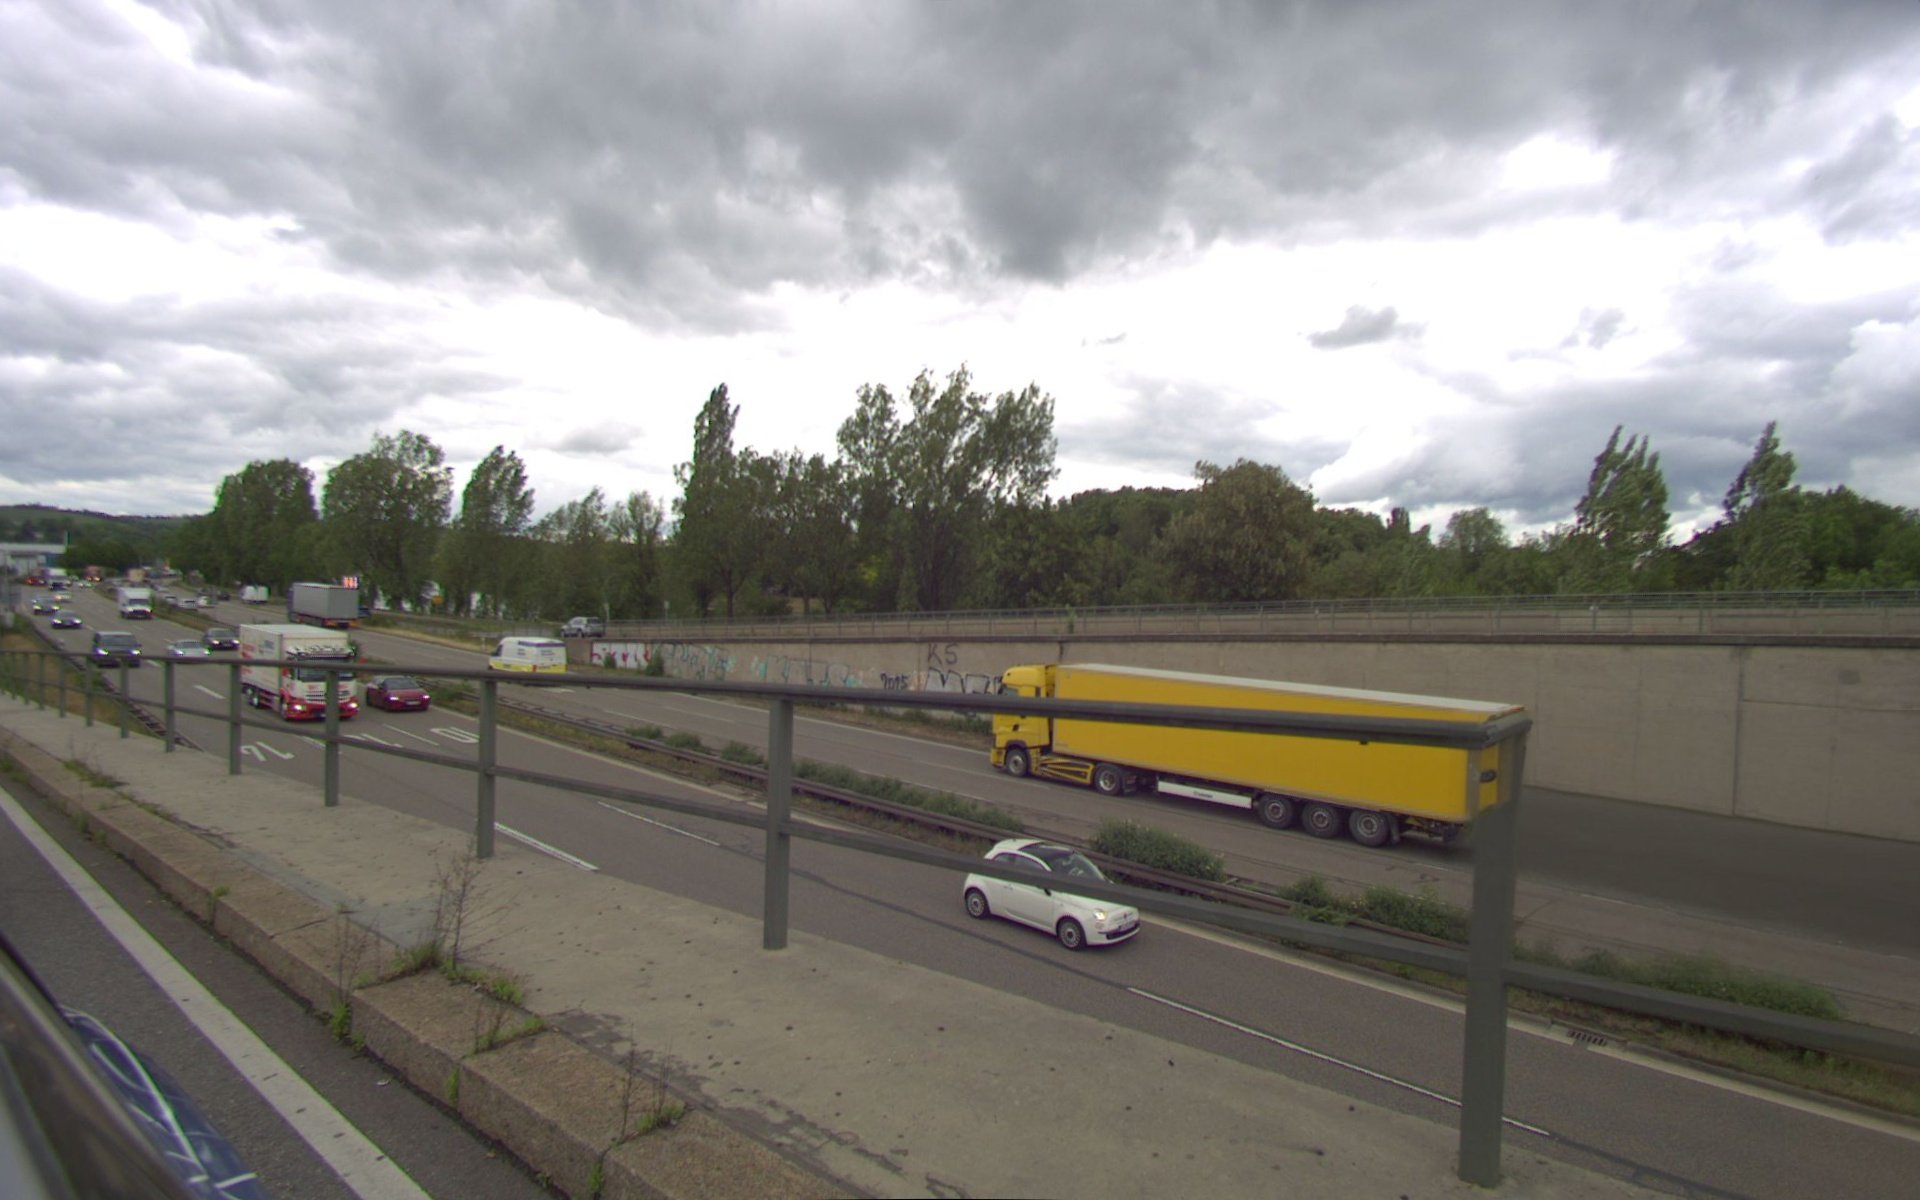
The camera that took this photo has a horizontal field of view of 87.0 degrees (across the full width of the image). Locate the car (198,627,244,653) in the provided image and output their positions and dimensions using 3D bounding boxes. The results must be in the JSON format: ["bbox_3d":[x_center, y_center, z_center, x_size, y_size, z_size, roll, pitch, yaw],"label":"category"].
[{"bbox_3d":[-52.252,2.814,71.525,4.425,1.476,1.838,2,2,43],"label":"car"}]

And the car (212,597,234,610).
[{"bbox_3d":[-119.161,0.538,163.577,4.562,1.831,1.861,2,-3,42],"label":"car"}]

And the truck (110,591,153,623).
[{"bbox_3d":[-83.302,0.658,101.686,7.229,3.031,2.210,2,1,41],"label":"truck"}]

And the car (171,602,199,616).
[{"bbox_3d":[-91.453,1.076,119.388,4.002,1.431,1.971,2,-3,45],"label":"car"}]

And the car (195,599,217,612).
[{"bbox_3d":[-98.125,0.697,131.666,4.002,1.431,1.660,3,0,44],"label":"car"}]

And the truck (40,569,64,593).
[{"bbox_3d":[-168.519,-3.575,187.798,2.968,4.140,5.880,3,0,-44],"label":"truck"}]

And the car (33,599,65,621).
[{"bbox_3d":[-92.157,1.029,102.360,4.001,2.029,1.971,2,-1,43],"label":"car"}]

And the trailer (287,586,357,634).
[{"bbox_3d":[-63.297,0.887,100.220,13.772,4.170,2.755,3,1,45],"label":"trailer"}]

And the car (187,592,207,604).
[{"bbox_3d":[-133.613,-0.316,177.274,4.562,1.831,1.861,2,-3,42],"label":"car"}]

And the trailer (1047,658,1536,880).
[{"bbox_3d":[9.043,4.396,30.162,13.681,4.294,3.205,2,0,43],"label":"trailer"}]

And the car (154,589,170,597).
[{"bbox_3d":[-161.031,-1.468,204.174,4.002,1.431,1.971,2,1,44],"label":"car"}]

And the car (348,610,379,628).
[{"bbox_3d":[-69.489,2.218,117.950,1.970,1.914,4.587,6,-3,-44],"label":"car"}]

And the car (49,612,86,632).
[{"bbox_3d":[-74.980,1.836,85.024,4.126,1.461,1.804,2,0,41],"label":"car"}]

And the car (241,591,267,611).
[{"bbox_3d":[-104.560,0.093,149.908,5.180,2.669,1.972,2,-3,42],"label":"car"}]

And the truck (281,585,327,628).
[{"bbox_3d":[-68.077,0.649,104.954,5.939,4.170,2.755,3,1,45],"label":"truck"}]

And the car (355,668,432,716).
[{"bbox_3d":[-25.482,4.093,45.473,4.183,1.590,1.810,4,3,43],"label":"car"}]

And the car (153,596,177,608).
[{"bbox_3d":[-104.617,0.273,133.200,4.002,1.431,1.971,2,-3,45],"label":"car"}]

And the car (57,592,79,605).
[{"bbox_3d":[-118.170,-0.206,134.046,3.335,1.539,1.746,2,0,41],"label":"car"}]

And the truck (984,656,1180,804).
[{"bbox_3d":[4.101,4.229,34.720,5.803,4.213,3.206,2,0,42],"label":"truck"}]

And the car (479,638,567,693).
[{"bbox_3d":[-25.147,3.701,58.062,6.713,2.648,1.972,2,-1,42],"label":"car"}]

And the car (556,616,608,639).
[{"bbox_3d":[-28.458,2.056,76.139,4.378,1.664,1.872,-1,0,44],"label":"car"}]

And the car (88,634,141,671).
[{"bbox_3d":[-48.664,2.973,58.203,1.970,1.853,4.429,2,0,-44],"label":"car"}]

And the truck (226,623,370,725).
[{"bbox_3d":[-28.876,3.022,43.885,9.873,3.552,2.850,2,-1,43],"label":"truck"}]

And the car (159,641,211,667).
[{"bbox_3d":[-47.408,3.279,61.888,4.153,1.311,1.766,3,0,42],"label":"car"}]

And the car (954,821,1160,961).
[{"bbox_3d":[1.791,5.433,19.331,3.608,1.544,1.674,2,1,43],"label":"car"}]
